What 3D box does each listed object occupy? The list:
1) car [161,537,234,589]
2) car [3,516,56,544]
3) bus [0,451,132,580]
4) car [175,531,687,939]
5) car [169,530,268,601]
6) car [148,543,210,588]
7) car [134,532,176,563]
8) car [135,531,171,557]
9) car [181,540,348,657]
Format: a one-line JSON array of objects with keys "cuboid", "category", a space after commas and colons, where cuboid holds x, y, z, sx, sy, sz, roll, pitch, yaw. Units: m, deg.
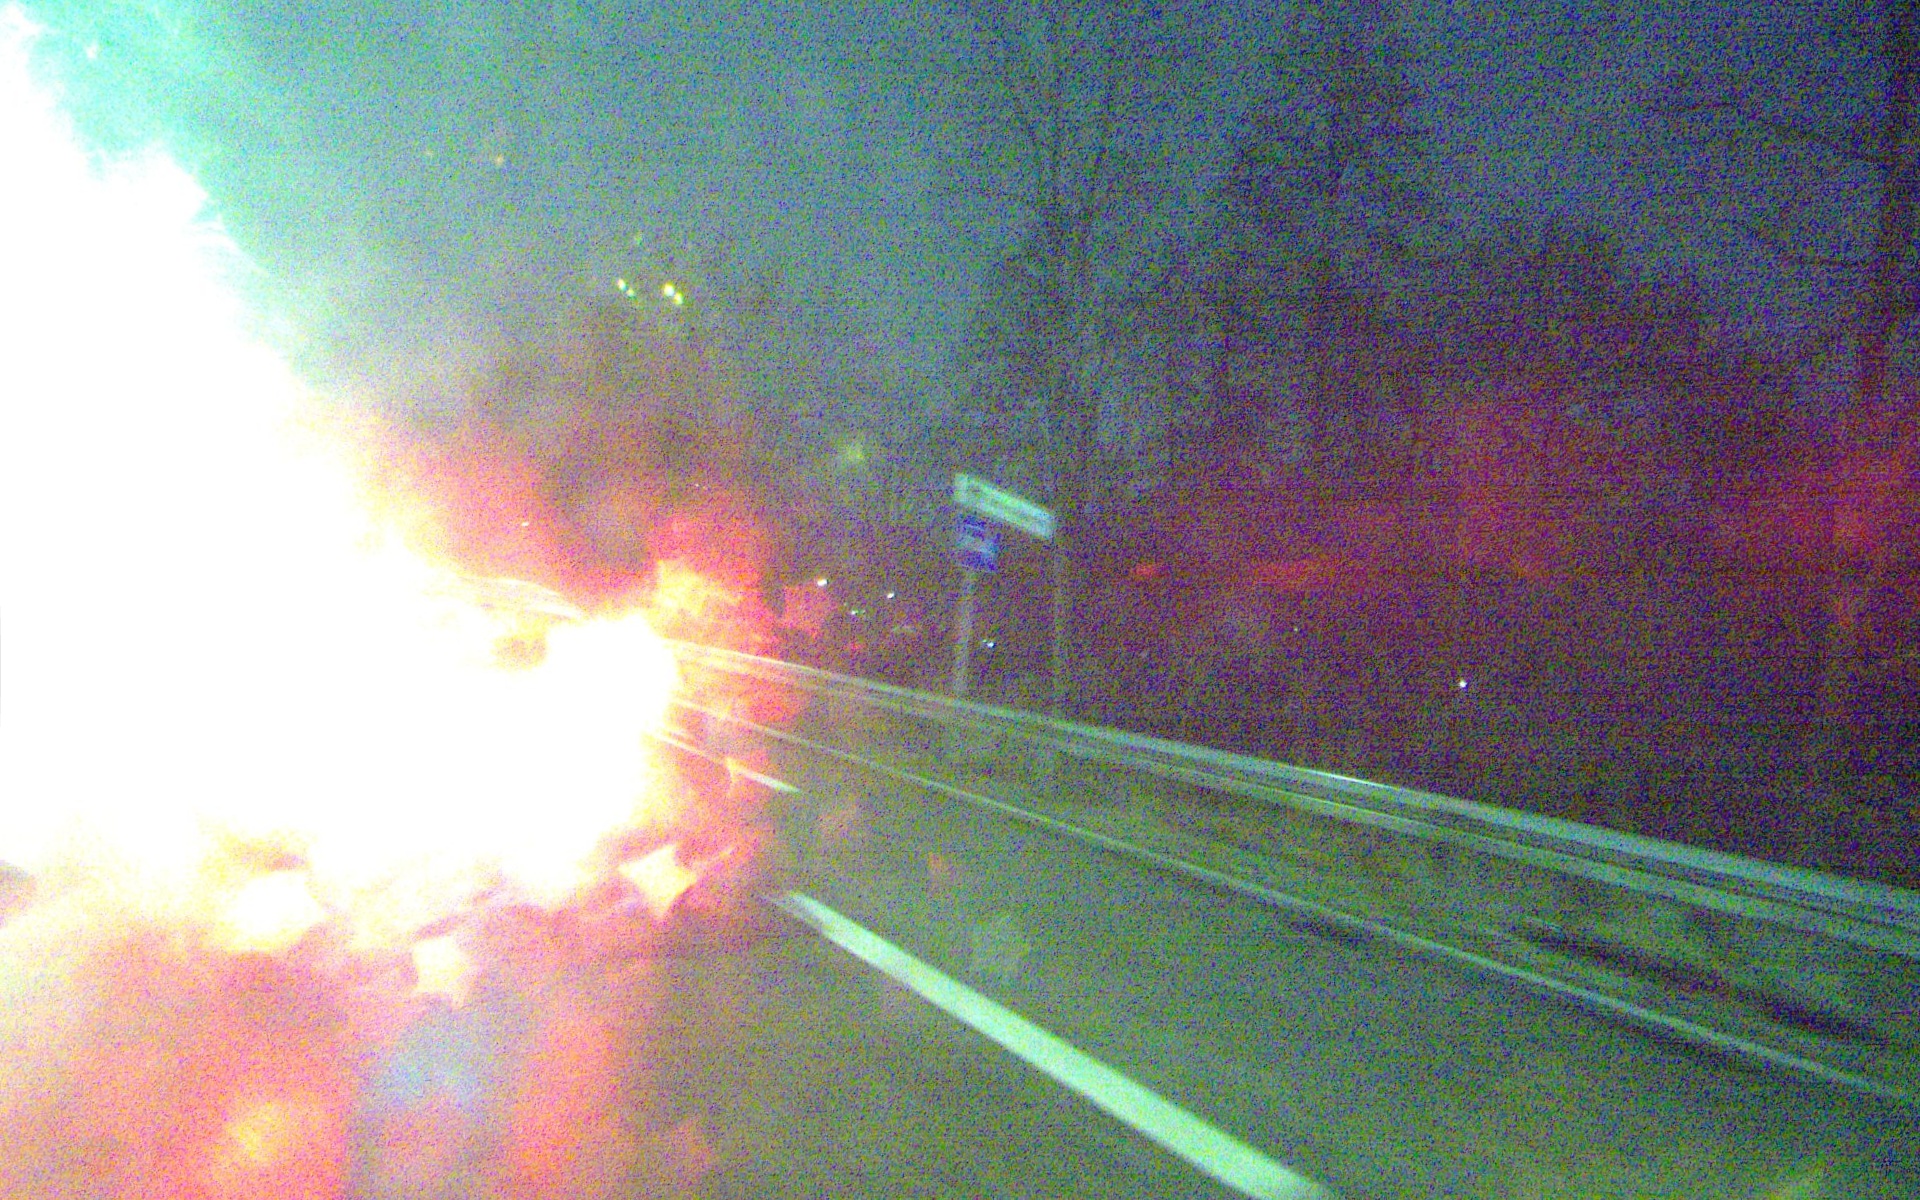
[{"cuboid": [-28.062, -1.377, 36.977, 1.812, 1.610, 3.734, 6, -1, -41], "category": "car"}, {"cuboid": [-81.999, -6.189, 88.654, 3.932, 2.038, 2.215, 6, -1, 30], "category": "car"}, {"cuboid": [-27.078, -2.448, 30.478, 2.804, 3.059, 8.593, 8, -2, -40], "category": "bus"}, {"cuboid": [-3.462, 0.484, 6.038, 1.813, 1.502, 4.521, 7, -2, -38], "category": "car"}, {"cuboid": [-20.224, -0.971, 27.382, 1.733, 1.583, 3.734, 8, -2, -41], "category": "car"}, {"cuboid": [-33.439, -1.507, 43.044, 1.812, 1.610, 3.734, 6, -1, -41], "category": "car"}, {"cuboid": [-48.093, -3.141, 60.059, 1.773, 1.561, 3.832, 8, -2, -40], "category": "car"}, {"cuboid": [-57.427, -4.010, 71.538, 1.812, 1.610, 3.735, 6, -1, -40], "category": "car"}, {"cuboid": [-11.394, -0.100, 16.333, 1.725, 1.465, 4.674, 8, -2, -39], "category": "car"}]
